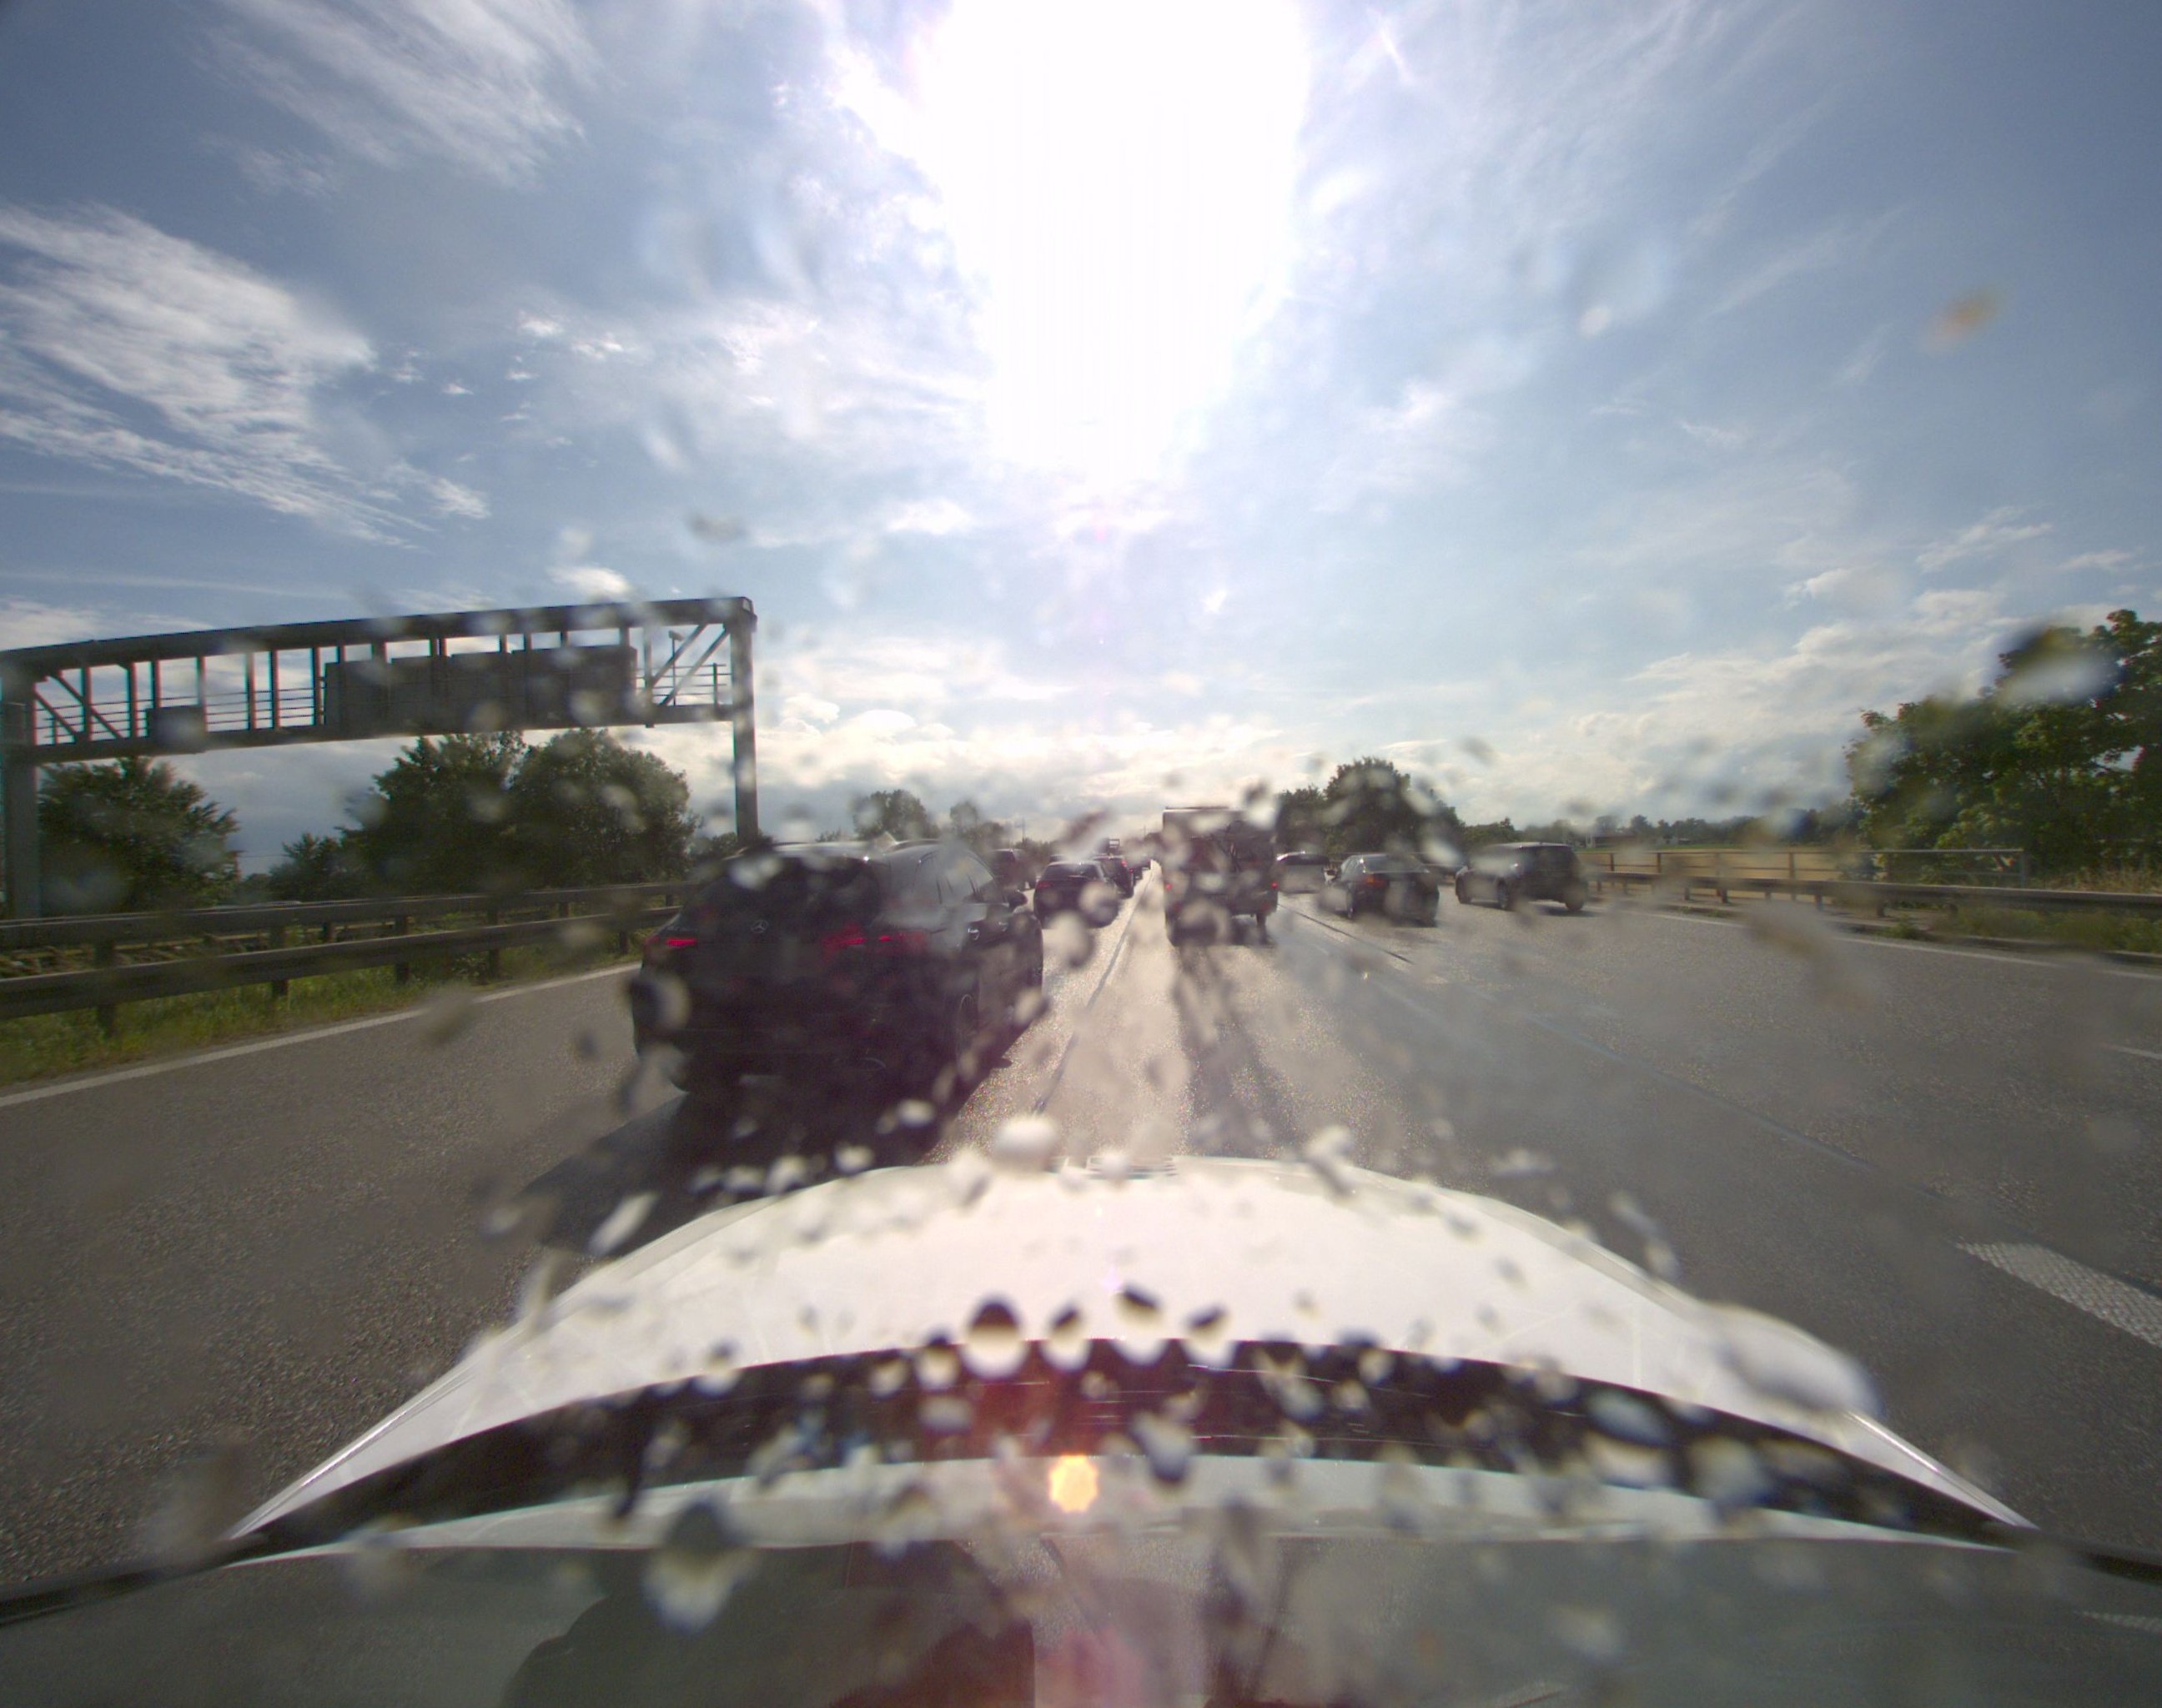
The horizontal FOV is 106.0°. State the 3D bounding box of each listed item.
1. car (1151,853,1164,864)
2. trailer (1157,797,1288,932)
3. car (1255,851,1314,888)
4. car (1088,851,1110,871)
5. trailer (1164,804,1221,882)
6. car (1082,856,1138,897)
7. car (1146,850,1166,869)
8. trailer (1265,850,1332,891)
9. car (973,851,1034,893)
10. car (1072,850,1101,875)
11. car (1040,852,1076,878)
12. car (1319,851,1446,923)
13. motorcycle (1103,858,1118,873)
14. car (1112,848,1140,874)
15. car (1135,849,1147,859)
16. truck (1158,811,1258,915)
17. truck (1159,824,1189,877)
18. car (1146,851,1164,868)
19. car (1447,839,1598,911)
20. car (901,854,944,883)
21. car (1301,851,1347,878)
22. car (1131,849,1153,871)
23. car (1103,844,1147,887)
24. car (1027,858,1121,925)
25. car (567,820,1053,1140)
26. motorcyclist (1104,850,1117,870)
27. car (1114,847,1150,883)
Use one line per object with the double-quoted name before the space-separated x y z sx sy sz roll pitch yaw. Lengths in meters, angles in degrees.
"car" 12.525 0.810 133.425 1.868 1.760 4.003 -1 0 3
"trailer" 2.926 0.217 18.377 2.363 2.483 6.532 -1 0 5
"car" 8.720 0.629 35.230 1.846 1.442 4.264 -1 0 5
"car" 1.885 0.685 83.905 1.983 2.013 4.007 0 0 6
"trailer" 6.584 -0.553 48.247 2.990 4.166 8.554 -1 0 8
"car" 1.153 0.803 30.429 1.797 1.407 4.006 -1 0 6
"car" 8.040 0.605 87.028 1.983 2.013 4.007 0 0 6
"trailer" 8.404 0.615 31.844 1.846 1.442 4.154 -1 0 5
"car" -3.334 0.756 35.830 1.985 1.720 4.004 -1 0 4
"car" 0.508 0.686 70.290 1.983 2.013 4.007 2 0 6
"car" -1.545 0.735 56.546 1.983 1.772 4.007 0 0 6
"car" 6.643 0.672 18.367 1.732 1.420 3.841 -1 0 5
"motorcycle" 2.635 0.986 72.063 1.068 1.271 2.695 -1 0 6
"car" 3.625 0.543 64.371 1.983 2.013 4.007 0 0 6
"car" 10.090 0.031 137.625 1.868 1.760 4.003 -1 0 3
"truck" 3.325 0.233 22.499 2.363 2.477 5.764 -1 0 5
"truck" 8.883 -0.320 78.201 2.491 4.830 7.552 -1 0 4
"car" 9.030 0.650 99.132 1.983 2.013 4.007 2 0 6
"car" 10.988 0.476 20.652 1.779 1.613 4.392 -1 0 6
"car" -11.927 1.060 61.535 1.984 2.013 4.659 -1 0 5
"car" 13.648 0.581 45.968 1.762 1.401 4.297 -1 0 6
"car" 6.038 0.572 80.107 1.983 2.013 4.007 -1 0 6
"car" 2.295 0.558 41.301 1.983 2.013 4.007 -1 0 6
"car" -0.058 0.818 19.563 1.748 1.387 3.952 -1 0 6
"car" -1.547 0.685 6.521 1.983 1.661 4.413 -1 0 6
"motorcyclist" 2.636 0.545 72.169 1.058 1.718 0.786 -1 -1 5
"car" 3.213 0.661 50.478 1.983 2.013 4.007 2 0 6
